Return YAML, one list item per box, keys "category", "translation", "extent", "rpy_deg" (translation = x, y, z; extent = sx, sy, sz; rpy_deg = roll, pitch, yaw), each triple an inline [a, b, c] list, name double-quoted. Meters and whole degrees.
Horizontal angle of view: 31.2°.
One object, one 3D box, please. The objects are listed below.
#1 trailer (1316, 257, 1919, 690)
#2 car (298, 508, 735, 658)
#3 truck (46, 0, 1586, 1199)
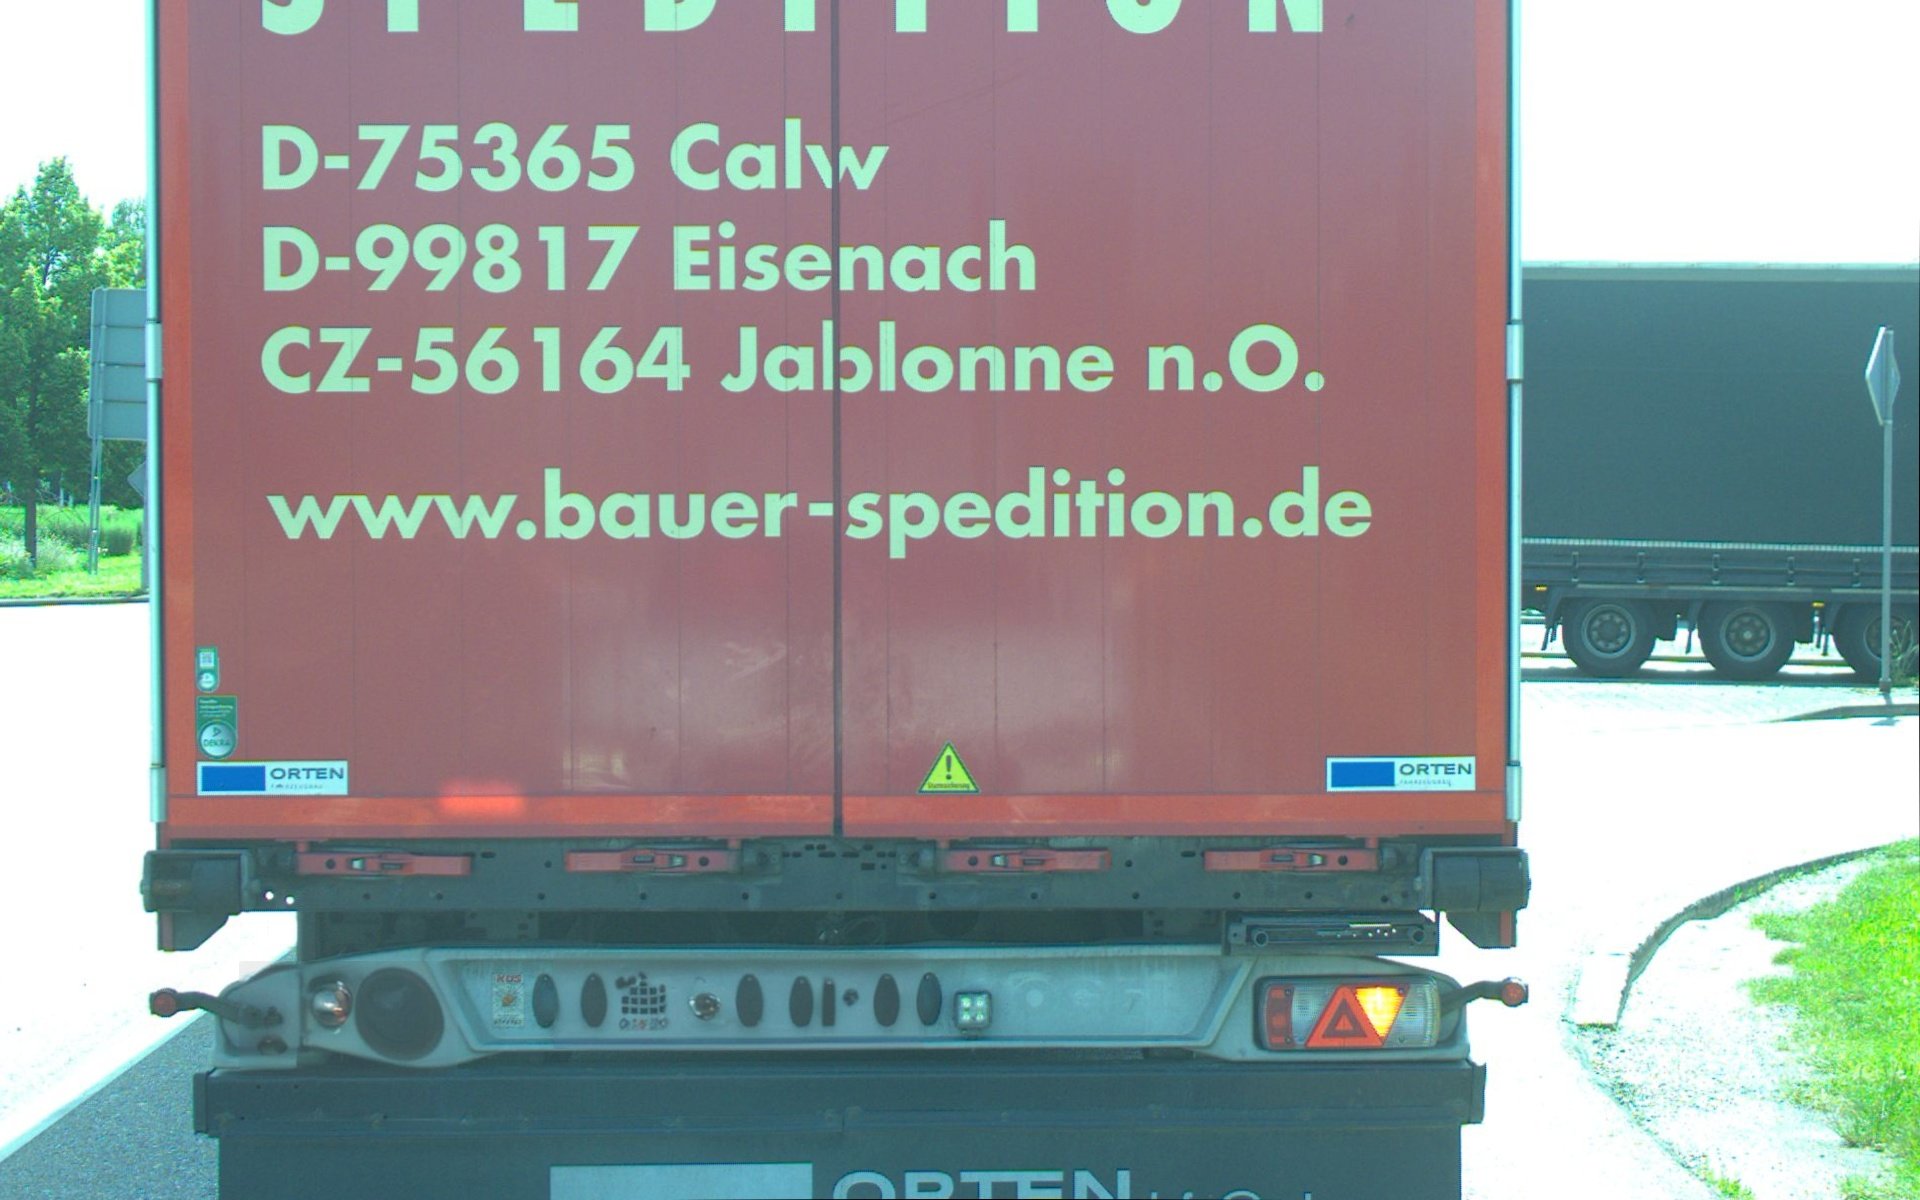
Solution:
- category: "trailer"
  translation: [10.462, -1.200, 33.207]
  extent: [13.692, 4.047, 2.797]
  rpy_deg: [1, 2, 13]
- category: "car"
  translation: [-4.712, -0.214, 36.655]
  extent: [4.250, 1.456, 1.808]
  rpy_deg: [1, 2, 17]
- category: "truck"
  translation: [-0.386, -0.767, 14.441]
  extent: [2.734, 3.911, 16.627]
  rpy_deg: [0, 1, -1]
